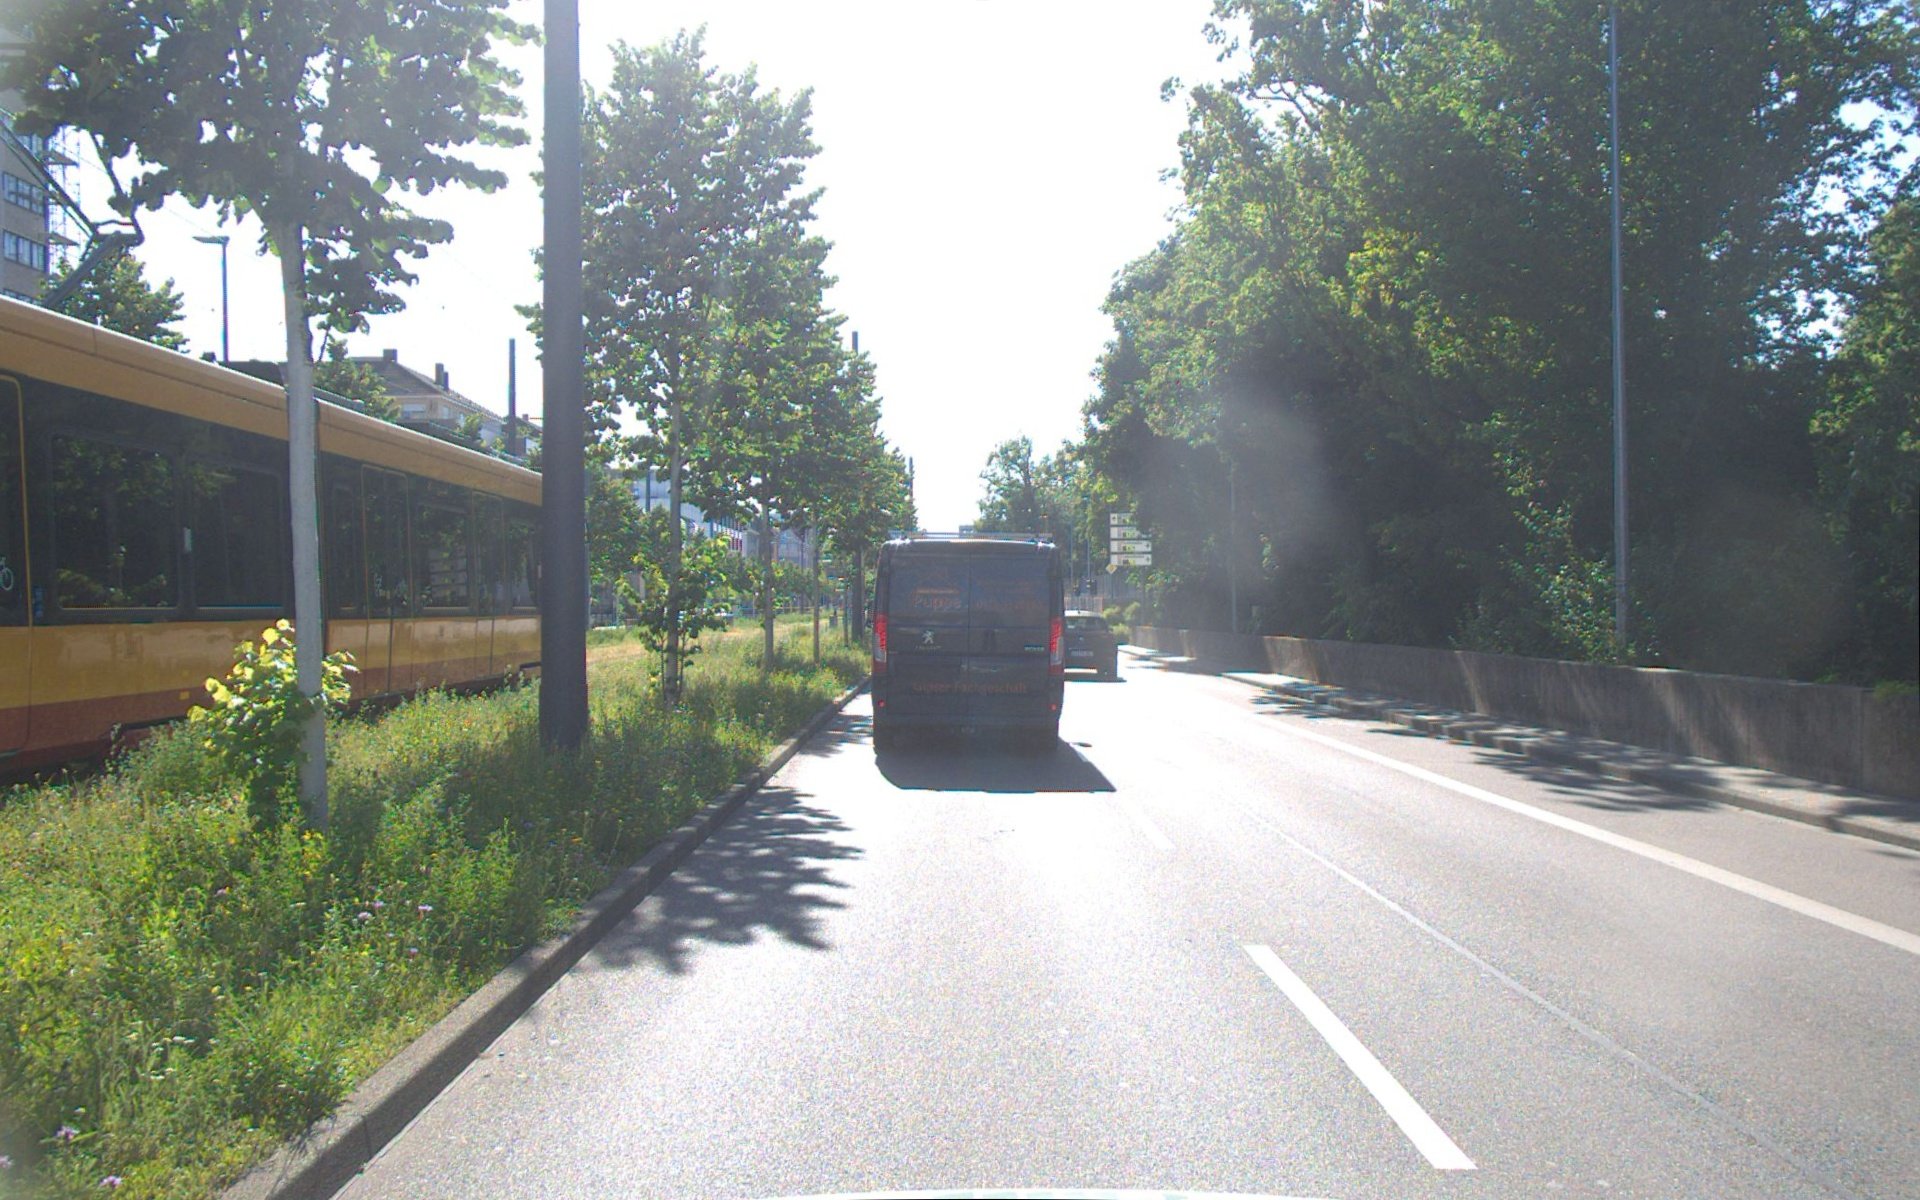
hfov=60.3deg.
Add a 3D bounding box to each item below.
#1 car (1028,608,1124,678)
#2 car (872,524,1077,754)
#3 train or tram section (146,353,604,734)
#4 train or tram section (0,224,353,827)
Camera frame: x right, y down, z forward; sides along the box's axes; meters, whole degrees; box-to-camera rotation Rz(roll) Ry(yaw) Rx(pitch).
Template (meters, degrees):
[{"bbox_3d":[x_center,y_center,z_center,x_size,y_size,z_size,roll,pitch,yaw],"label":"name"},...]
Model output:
[{"bbox_3d":[2.575,0.936,37.603,1.728,1.488,3.998,1,0,-3],"label":"car"},{"bbox_3d":[0.108,0.406,18.608,2.040,2.288,3.999,1,0,-1],"label":"car"},{"bbox_3d":[-7.002,-0.522,22.093,1.953,3.733,11.682,0,0,0],"label":"train or tram section"},{"bbox_3d":[-6.924,-0.462,10.610,1.953,3.733,11.314,0,0,-1],"label":"train or tram section"}]
